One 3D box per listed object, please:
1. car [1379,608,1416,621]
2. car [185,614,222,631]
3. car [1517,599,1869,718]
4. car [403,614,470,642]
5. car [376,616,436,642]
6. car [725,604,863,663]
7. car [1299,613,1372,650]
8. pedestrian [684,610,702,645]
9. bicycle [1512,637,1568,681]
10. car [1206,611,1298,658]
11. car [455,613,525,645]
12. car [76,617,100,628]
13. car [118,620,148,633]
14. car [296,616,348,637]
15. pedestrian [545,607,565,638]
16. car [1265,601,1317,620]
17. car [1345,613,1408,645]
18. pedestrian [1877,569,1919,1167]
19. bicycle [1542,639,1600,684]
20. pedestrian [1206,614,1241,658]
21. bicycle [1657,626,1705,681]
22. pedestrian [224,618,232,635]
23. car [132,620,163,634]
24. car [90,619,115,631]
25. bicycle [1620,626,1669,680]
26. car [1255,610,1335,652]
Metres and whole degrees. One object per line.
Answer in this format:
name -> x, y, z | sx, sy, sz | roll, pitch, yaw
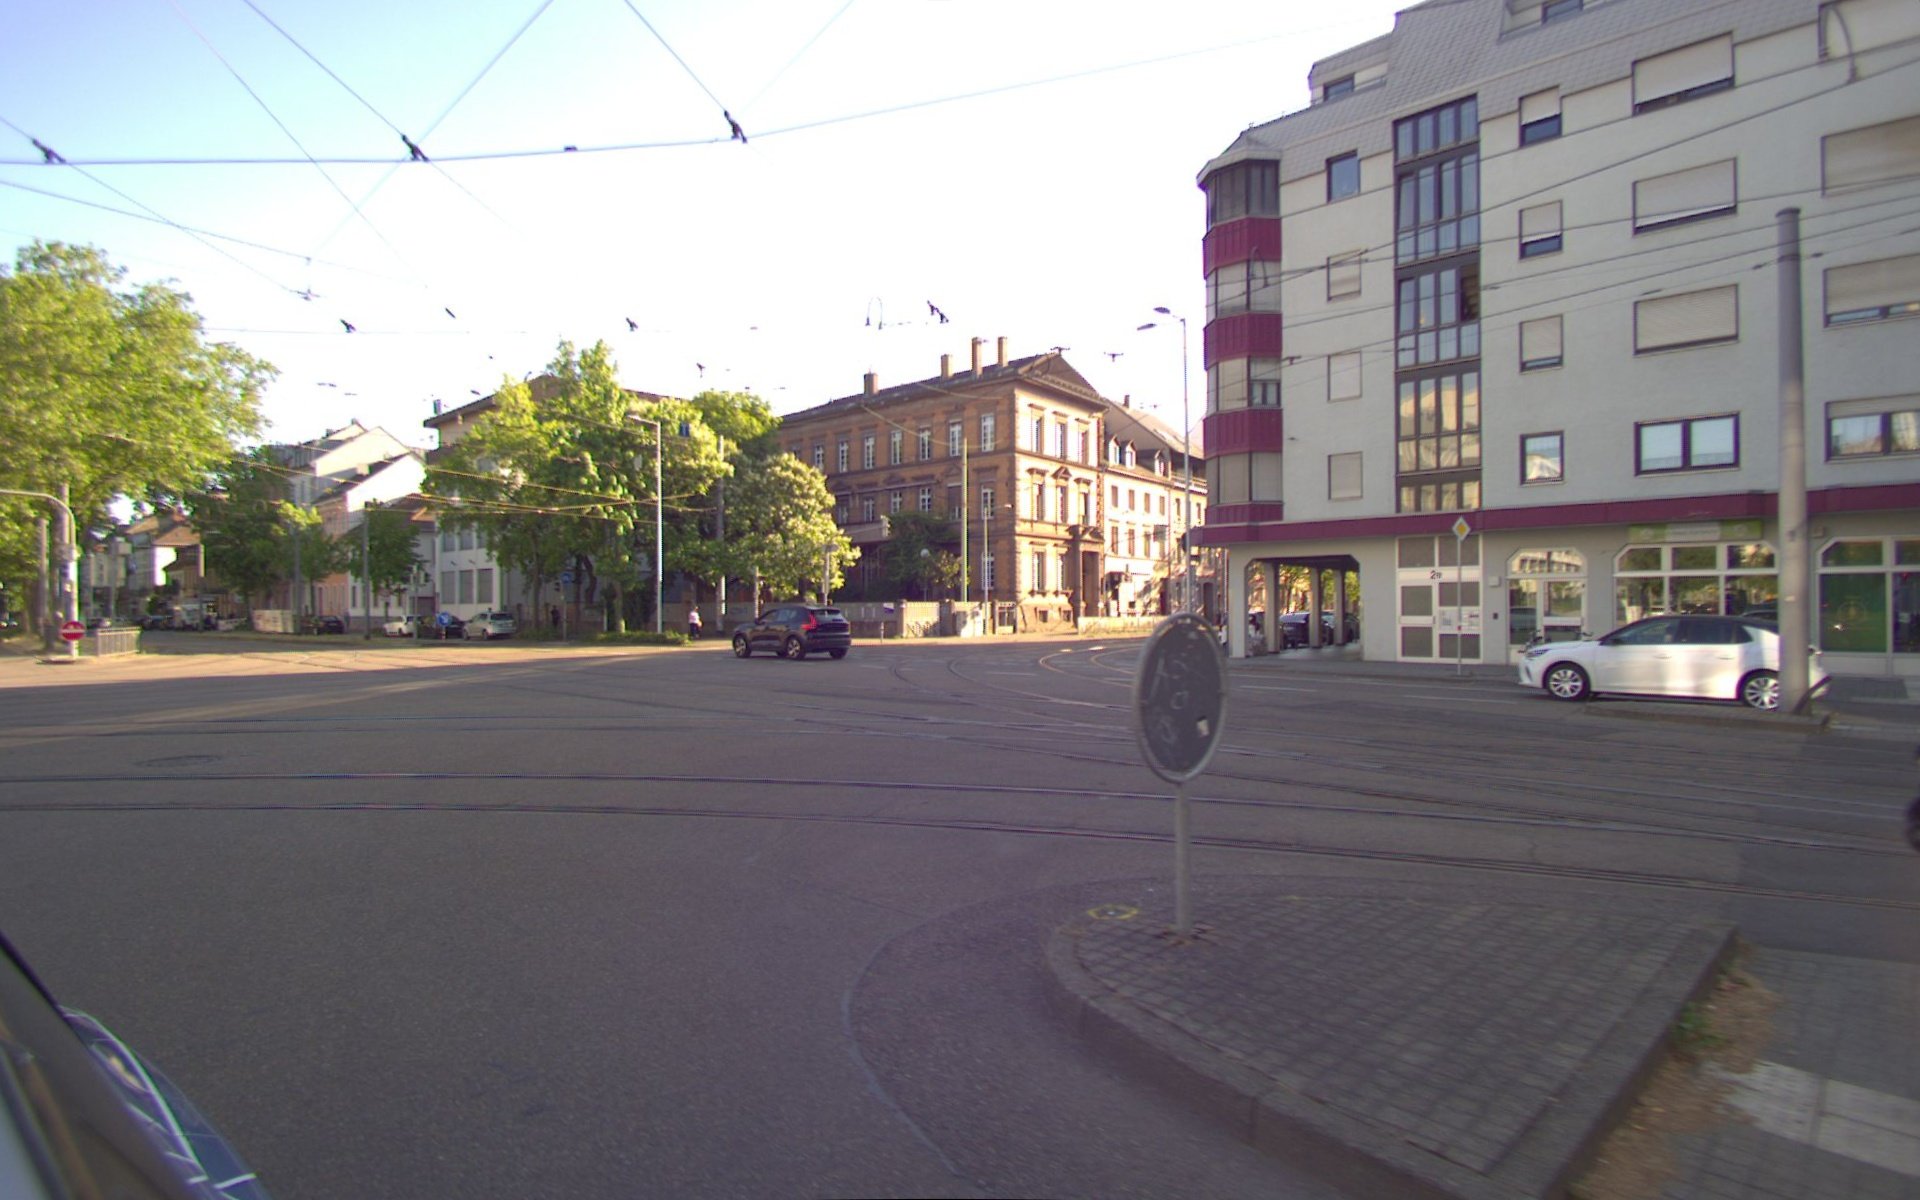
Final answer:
car -> 48.926, 1.640, 113.147 | 3.546, 1.412, 1.678 | -1, -1, 39
car -> -78.434, 2.318, 104.926 | 4.530, 1.686, 2.060 | -1, 2, 41
car -> 11.393, 0.833, 15.918 | 4.261, 1.607, 1.933 | -1, -1, 44
car -> -31.728, 1.674, 61.326 | 4.455, 1.513, 2.060 | -1, 2, 41
car -> -35.817, 1.844, 65.405 | 3.995, 1.501, 2.060 | -1, 2, 41
car -> -5.134, 1.002, 30.967 | 4.259, 1.685, 1.934 | -1, -1, 42
car -> 17.229, 1.405, 46.339 | 1.996, 1.567, 4.529 | -1, -1, 36
pedestrian -> -13.025, 1.356, 49.384 | 0.630, 1.677, 0.562 | -1, 1, 38
bicycle -> 12.506, 1.249, 21.809 | 1.821, 0.860, 0.554 | 0, -1, -44
car -> 10.555, 1.195, 36.451 | 1.996, 1.567, 3.952 | -1, -1, 36
car -> -26.501, 1.601, 57.002 | 4.096, 1.631, 2.060 | -1, 2, 41
car -> -131.484, 3.448, 152.567 | 4.007, 1.551, 2.060 | -1, 2, 41
car -> -105.433, 3.369, 128.980 | 5.102, 1.551, 2.060 | -1, 2, 41
car -> -48.396, 1.983, 76.722 | 4.577, 1.481, 2.060 | -1, 2, 41
pedestrian -> -23.773, 1.326, 59.419 | 1.019, 1.765, 0.726 | -1, -1, 41
car -> 28.981, 0.935, 88.668 | 3.991, 1.586, 1.976 | -1, -1, 35
car -> 21.242, 1.451, 51.490 | 1.996, 1.567, 4.529 | -1, -1, 36
pedestrian -> 3.080, 0.695, 2.664 | 1.031, 1.556, 0.696 | 0, -1, -31
bicycle -> 12.615, 1.251, 20.874 | 1.821, 0.860, 0.554 | 0, -1, -44
pedestrian -> 8.377, 1.131, 32.162 | 0.834, 1.395, 0.849 | -1, -1, 34
bicycle -> 13.901, 1.005, 19.500 | 0.553, 0.992, 1.823 | -1, -1, 41
pedestrian -> -79.646, 2.857, 110.136 | 0.553, 1.823, 0.705 | 1, -1, -44
car -> -96.140, 3.208, 119.730 | 4.514, 1.551, 2.060 | -1, 2, 41
car -> -123.592, 3.576, 145.912 | 4.254, 1.551, 2.060 | -1, 2, 41
bicycle -> 13.547, 1.028, 20.009 | 0.553, 0.992, 1.823 | -1, -1, 41
car -> 13.669, 1.223, 41.166 | 1.996, 1.567, 4.073 | -1, -1, 36
